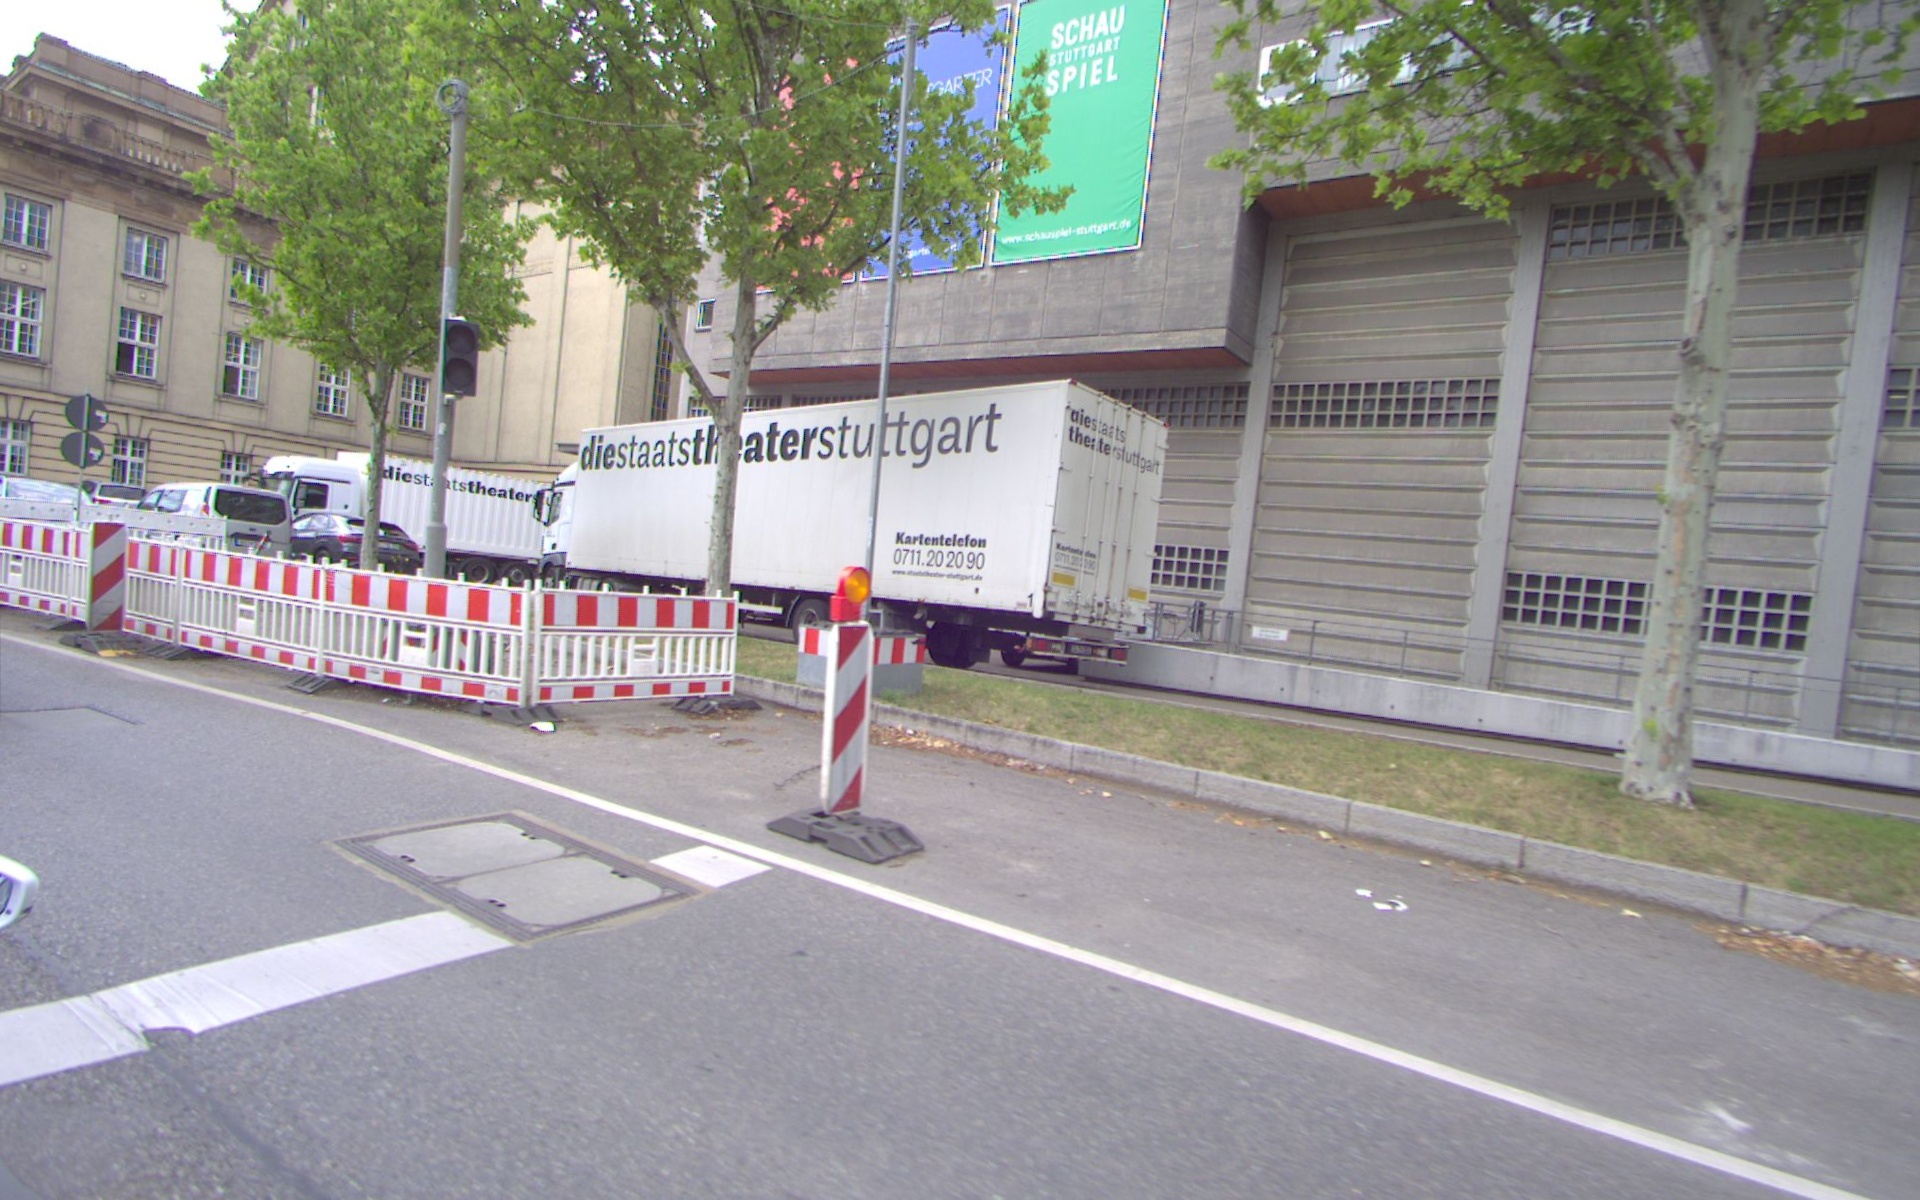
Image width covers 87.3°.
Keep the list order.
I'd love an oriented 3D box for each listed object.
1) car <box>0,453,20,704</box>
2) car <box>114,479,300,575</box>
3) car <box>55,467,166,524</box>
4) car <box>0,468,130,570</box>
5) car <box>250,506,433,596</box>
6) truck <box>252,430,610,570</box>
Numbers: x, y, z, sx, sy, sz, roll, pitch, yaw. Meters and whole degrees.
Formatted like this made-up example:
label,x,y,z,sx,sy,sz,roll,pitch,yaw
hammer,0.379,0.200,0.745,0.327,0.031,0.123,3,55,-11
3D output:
label,x,y,z,sx,sy,sz,roll,pitch,yaw
car,-8.685,-0.386,6.875,4.471,1.665,1.813,7,3,26
car,-15.514,-1.529,20.666,4.263,1.587,1.750,6,1,35
car,-29.643,-3.660,35.076,4.263,1.587,1.856,6,1,35
car,-17.653,-1.587,19.121,4.263,1.587,1.750,6,1,35
car,-13.831,-1.114,22.427,4.263,1.587,1.856,6,1,35
truck,-16.463,-2.973,32.441,2.529,3.089,10.027,6,1,35
